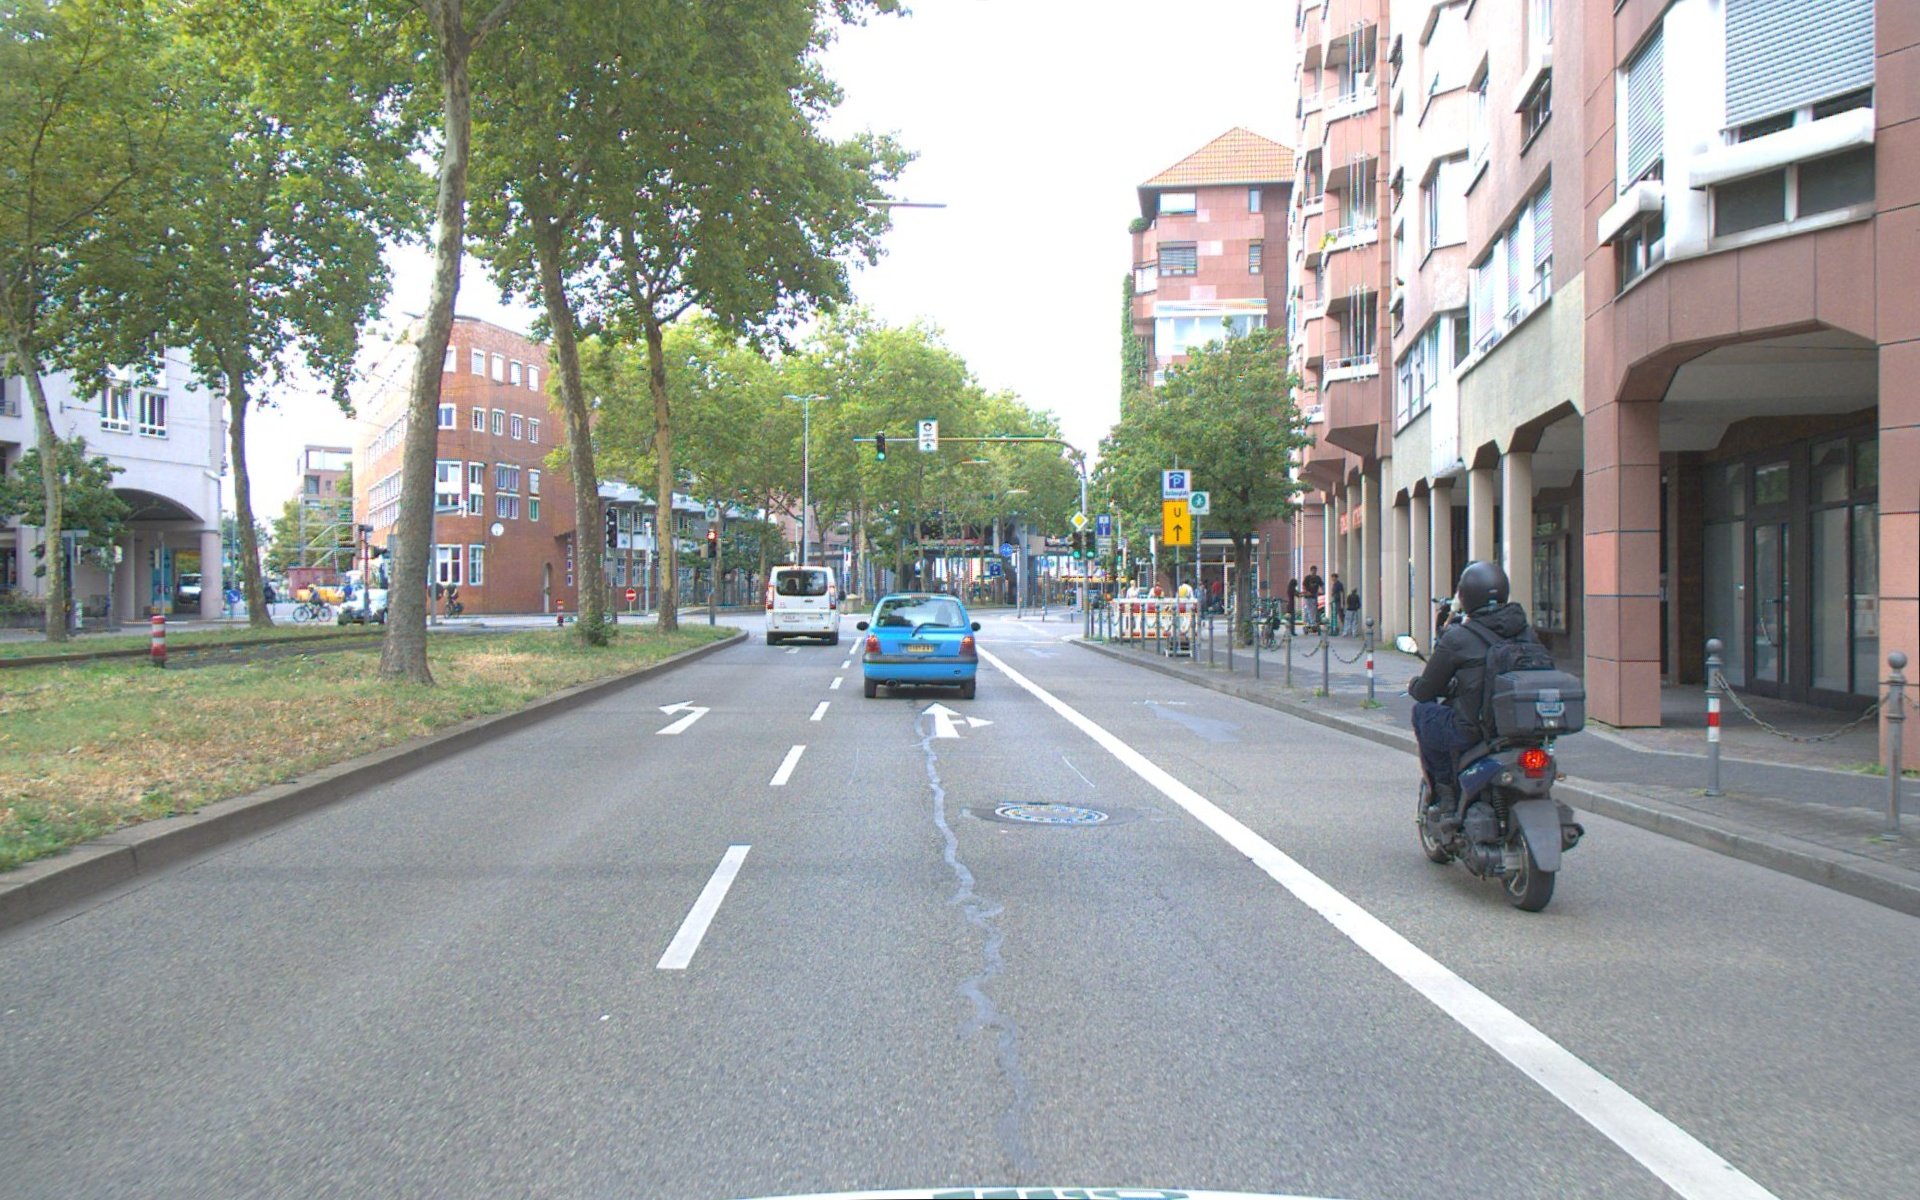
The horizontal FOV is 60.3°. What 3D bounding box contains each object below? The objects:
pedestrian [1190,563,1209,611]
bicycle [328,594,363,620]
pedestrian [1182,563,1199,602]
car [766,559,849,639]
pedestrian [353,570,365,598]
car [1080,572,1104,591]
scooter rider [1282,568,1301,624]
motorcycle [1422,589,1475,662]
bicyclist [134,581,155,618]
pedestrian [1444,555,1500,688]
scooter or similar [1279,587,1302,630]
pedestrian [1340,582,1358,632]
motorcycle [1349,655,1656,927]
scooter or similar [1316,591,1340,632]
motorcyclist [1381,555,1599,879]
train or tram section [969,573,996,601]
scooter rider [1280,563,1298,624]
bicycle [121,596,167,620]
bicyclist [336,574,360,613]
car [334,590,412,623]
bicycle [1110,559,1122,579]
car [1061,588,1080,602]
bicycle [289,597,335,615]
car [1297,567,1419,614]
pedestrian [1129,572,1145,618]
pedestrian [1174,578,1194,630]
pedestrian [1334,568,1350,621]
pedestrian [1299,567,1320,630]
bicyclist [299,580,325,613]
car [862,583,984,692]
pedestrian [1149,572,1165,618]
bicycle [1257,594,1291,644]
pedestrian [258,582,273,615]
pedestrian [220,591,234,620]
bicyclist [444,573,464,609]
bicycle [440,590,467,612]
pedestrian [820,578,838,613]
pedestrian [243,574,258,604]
[{"bbox_3d":[8.694,-0.472,60.126,0.638,1.730,1.023,0,0,5],"label":"pedestrian"},{"bbox_3d":[-26.848,0.288,72.310,0.676,1.111,1.878,0,0,5],"label":"bicycle"},{"bbox_3d":[9.287,-0.699,66.683,0.661,1.565,0.948,0,0,5],"label":"pedestrian"},{"bbox_3d":[-3.928,-0.074,43.198,1.893,1.959,4.954,0,1,-2],"label":"car"},{"bbox_3d":[-40.824,-1.085,112.354,0.684,1.849,0.649,0,0,-29],"label":"pedestrian"},{"bbox_3d":[11.192,-1.579,139.901,1.662,1.629,4.004,0,1,9],"label":"car"},{"bbox_3d":[9.537,-0.110,47.572,0.451,1.584,0.565,0,0,2],"label":"scooter rider"},{"bbox_3d":[8.500,0.423,28.836,0.603,1.176,1.905,-2,1,9],"label":"motorcycle"},{"bbox_3d":[-38.237,-0.028,77.542,0.777,1.702,0.566,0,0,-39],"label":"bicyclist"},{"bbox_3d":[6.610,0.269,21.378,0.532,1.678,0.826,0,0,6],"label":"pedestrian"},{"bbox_3d":[9.561,0.230,47.870,0.464,1.227,1.331,0,0,4],"label":"scooter or similar"},{"bbox_3d":[10.722,0.191,45.559,0.476,1.347,0.485,0,0,12],"label":"pedestrian"},{"bbox_3d":[2.693,0.889,8.521,0.752,1.126,2.207,-1,0,-3],"label":"motorcycle"},{"bbox_3d":[10.721,0.321,48.168,0.542,1.190,1.407,0,0,7],"label":"scooter or similar"},{"bbox_3d":[2.688,0.561,8.488,0.744,1.545,1.017,-1,0,-3],"label":"motorcyclist"},{"bbox_3d":[2.699,-1.518,195.813,2.338,3.310,8.824,0,0,6],"label":"train or tram section"},{"bbox_3d":[9.572,-0.186,48.175,0.453,1.750,0.553,0,0,4],"label":"scooter rider"},{"bbox_3d":[-38.259,0.382,77.525,1.859,1.111,0.570,-1,0,-39],"label":"bicycle"},{"bbox_3d":[-26.828,-0.300,72.515,0.675,1.702,0.954,0,0,5],"label":"bicyclist"},{"bbox_3d":[-23.420,0.235,66.155,1.695,1.267,4.532,0,1,-3],"label":"car"},{"bbox_3d":[8.375,-1.661,88.786,0.604,1.026,1.736,0,0,3],"label":"bicycle"},{"bbox_3d":[13.092,-0.571,196.123,1.846,1.652,4.004,0,0,9],"label":"car"},{"bbox_3d":[-30.919,0.282,78.953,1.968,0.850,0.571,-1,1,-39],"label":"bicycle"},{"bbox_3d":[16.213,-0.369,67.556,4.723,1.857,2.001,0,-1,10],"label":"car"},{"bbox_3d":[6.357,-0.172,59.502,0.506,1.644,0.851,0,0,3],"label":"pedestrian"},{"bbox_3d":[8.134,0.133,60.067,0.662,1.860,0.851,0,0,4],"label":"pedestrian"},{"bbox_3d":[11.270,-0.160,48.830,0.398,1.540,0.485,0,0,6],"label":"pedestrian"},{"bbox_3d":[10.170,-0.053,48.153,0.539,1.831,0.658,0,0,9],"label":"pedestrian"},{"bbox_3d":[-30.933,-0.168,78.940,1.024,1.590,0.574,-1,0,-39],"label":"bicyclist"},{"bbox_3d":[-0.546,0.475,23.715,1.607,1.410,3.842,0,1,-2],"label":"car"},{"bbox_3d":[7.068,-0.180,59.344,0.506,1.644,0.851,0,0,4],"label":"pedestrian"},{"bbox_3d":[7.250,0.426,38.242,0.599,1.137,1.805,0,0,5],"label":"bicycle"},{"bbox_3d":[-42.793,-0.108,101.934,0.780,1.998,0.799,0,0,-27],"label":"pedestrian"},{"bbox_3d":[-51.629,0.361,116.561,0.853,2.049,1.333,0,0,-26],"label":"pedestrian"},{"bbox_3d":[-26.592,-0.460,86.890,0.653,1.880,1.081,-1,0,2],"label":"bicyclist"},{"bbox_3d":[-26.589,0.046,86.880,0.663,1.112,2.210,-1,1,2],"label":"bicycle"},{"bbox_3d":[-6.507,-0.214,81.955,0.541,1.748,0.890,0,0,24],"label":"pedestrian"},{"bbox_3d":[-39.388,-0.614,91.839,0.666,1.709,0.746,0,0,-30],"label":"pedestrian"}]
